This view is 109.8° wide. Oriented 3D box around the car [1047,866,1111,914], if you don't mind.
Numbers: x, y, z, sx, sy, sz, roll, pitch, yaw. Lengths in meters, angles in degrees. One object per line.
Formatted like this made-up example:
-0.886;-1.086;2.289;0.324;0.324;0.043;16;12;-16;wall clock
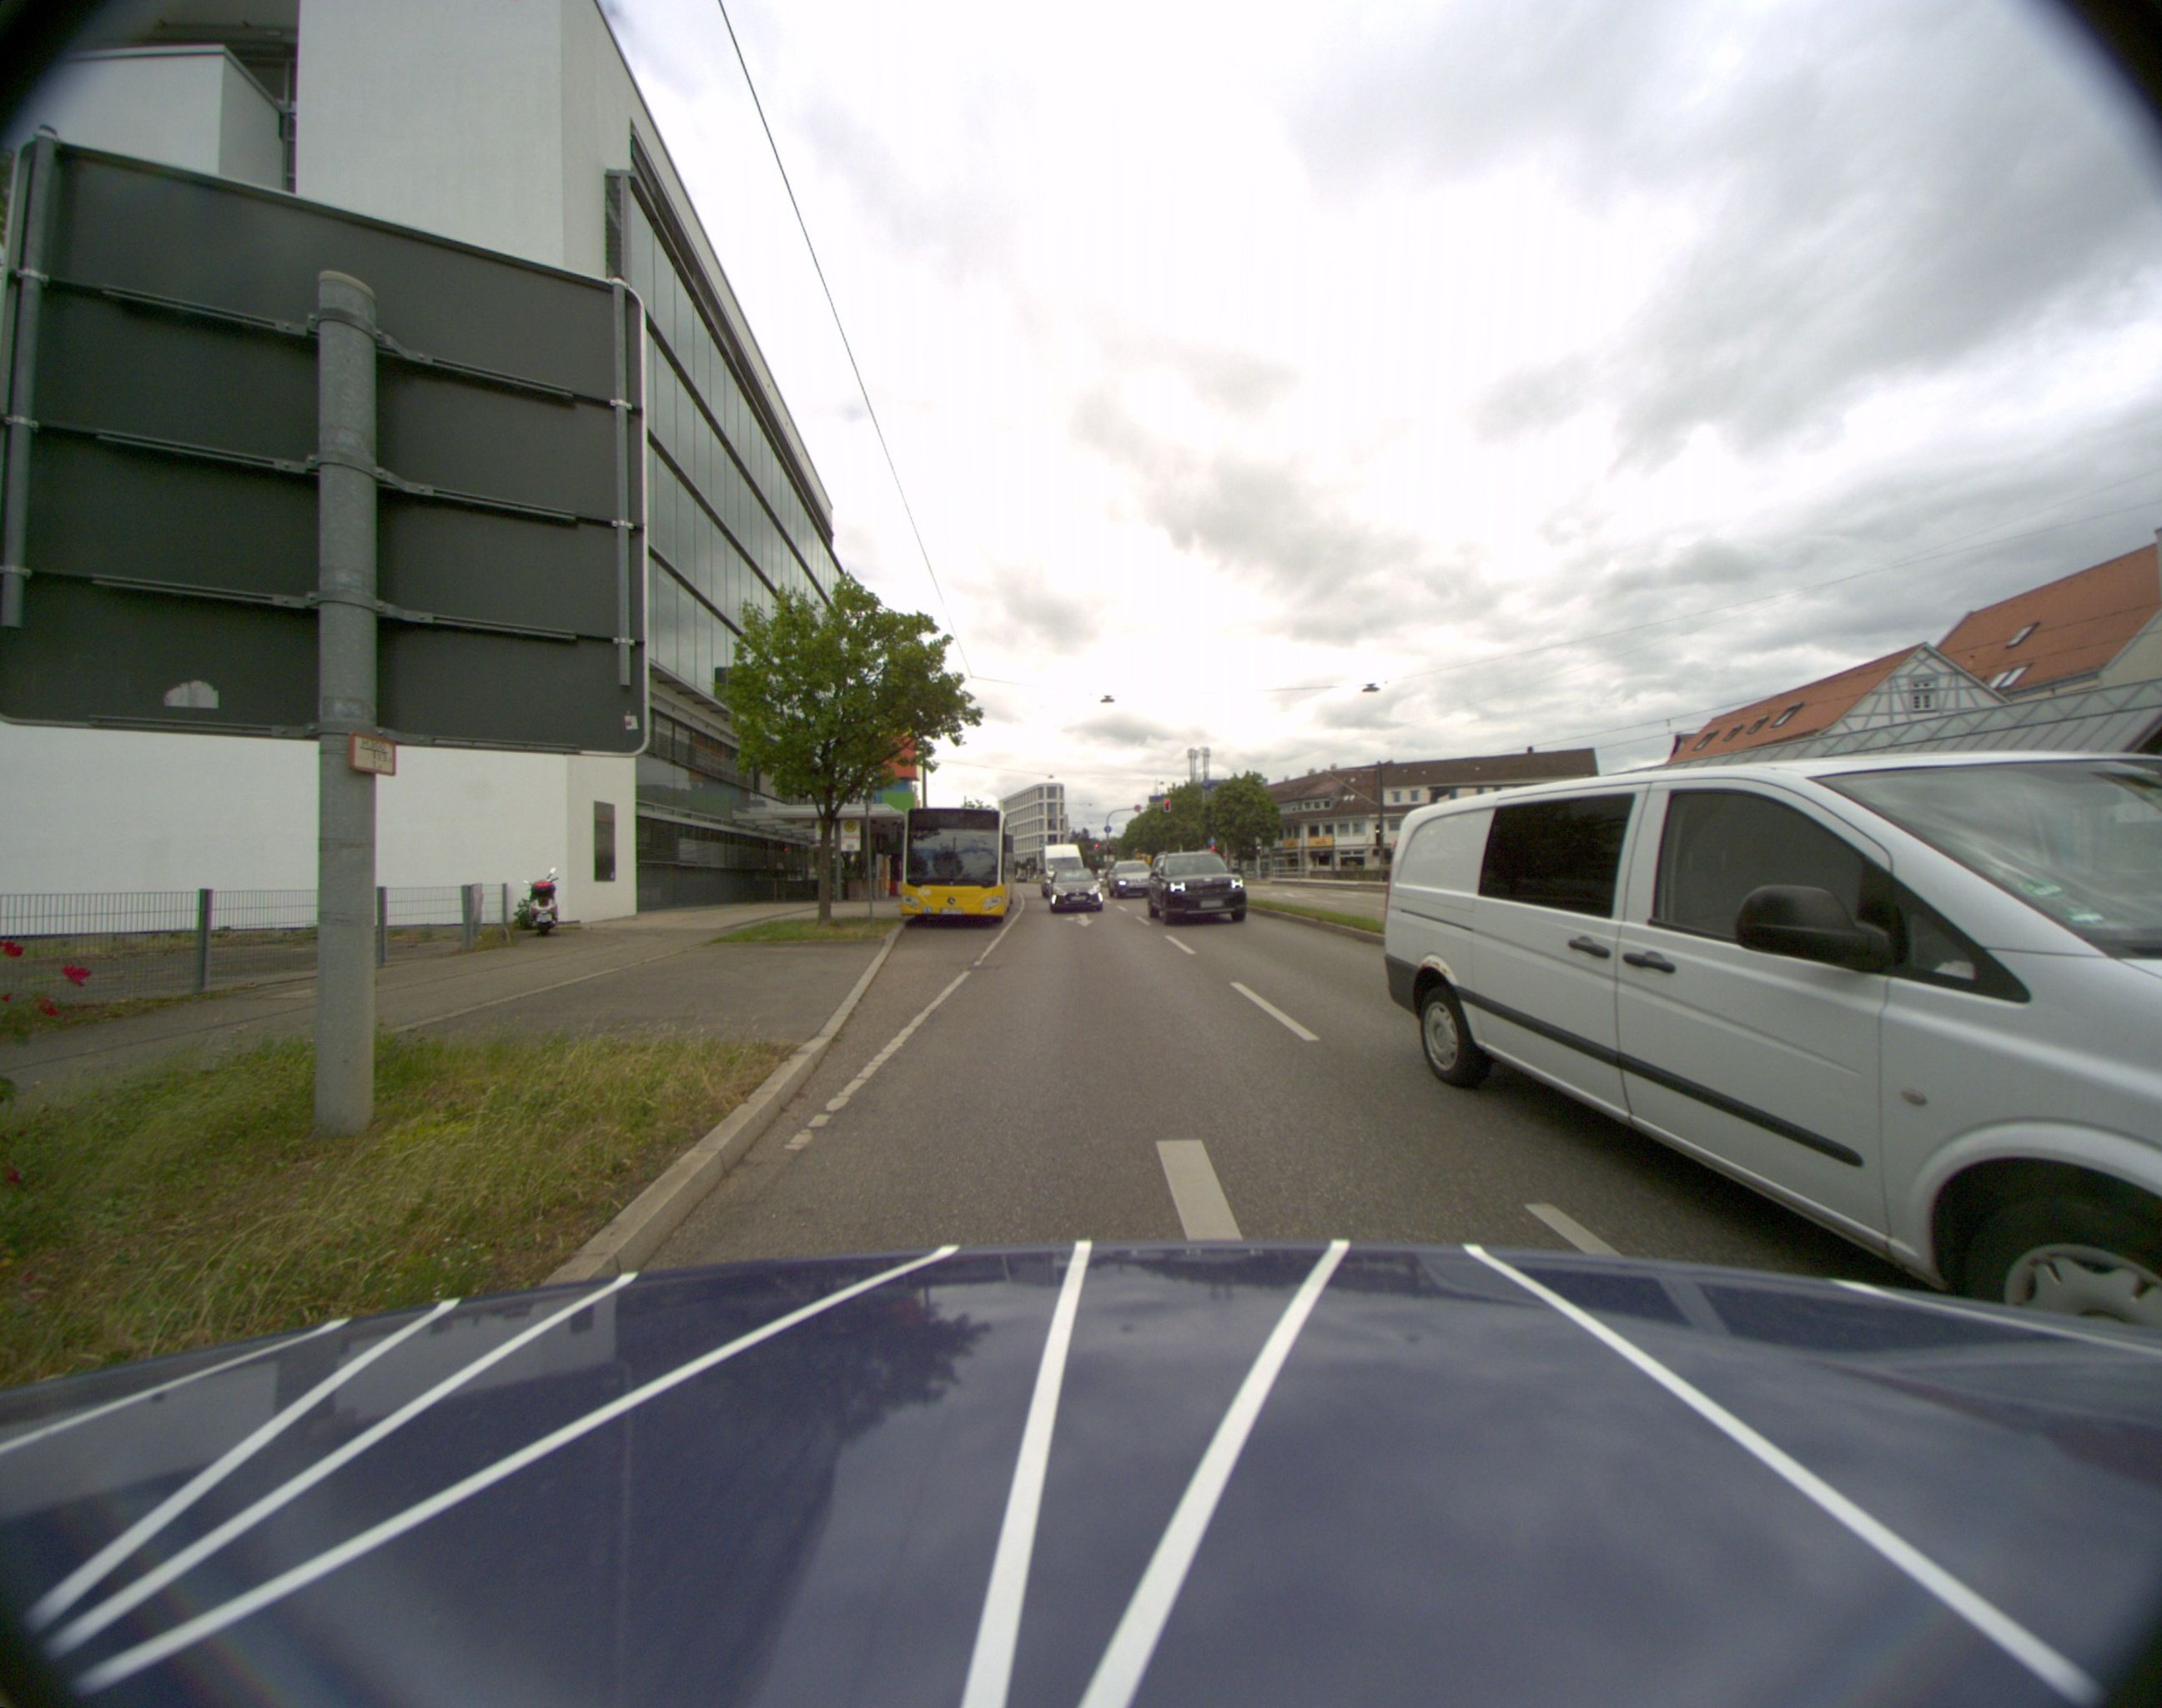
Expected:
0.004;1.180;26.208;1.862;1.516;4.002;-1;-1;5;car

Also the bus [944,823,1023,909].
-3.869;0.511;31.888;2.720;3.090;8.868;-1;-1;-4;bus

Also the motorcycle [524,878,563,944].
-10.659;1.098;15.092;0.585;1.214;1.578;-1;0;-34;motorcycle

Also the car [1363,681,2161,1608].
3.216;0.636;3.390;1.878;2.001;5.076;-2;-1;-1;car

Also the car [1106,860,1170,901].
2.499;1.157;34.378;2.000;1.640;4.391;-3;0;-7;car

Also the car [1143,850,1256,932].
2.841;0.869;19.342;1.927;1.741;4.678;-3;-1;-2;car

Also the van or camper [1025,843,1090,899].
-1.372;0.883;40.238;2.282;2.690;6.989;-1;-1;-11;van or camper

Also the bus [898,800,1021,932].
-3.289;0.373;22.892;2.720;3.145;9.126;1;-1;-4;bus
